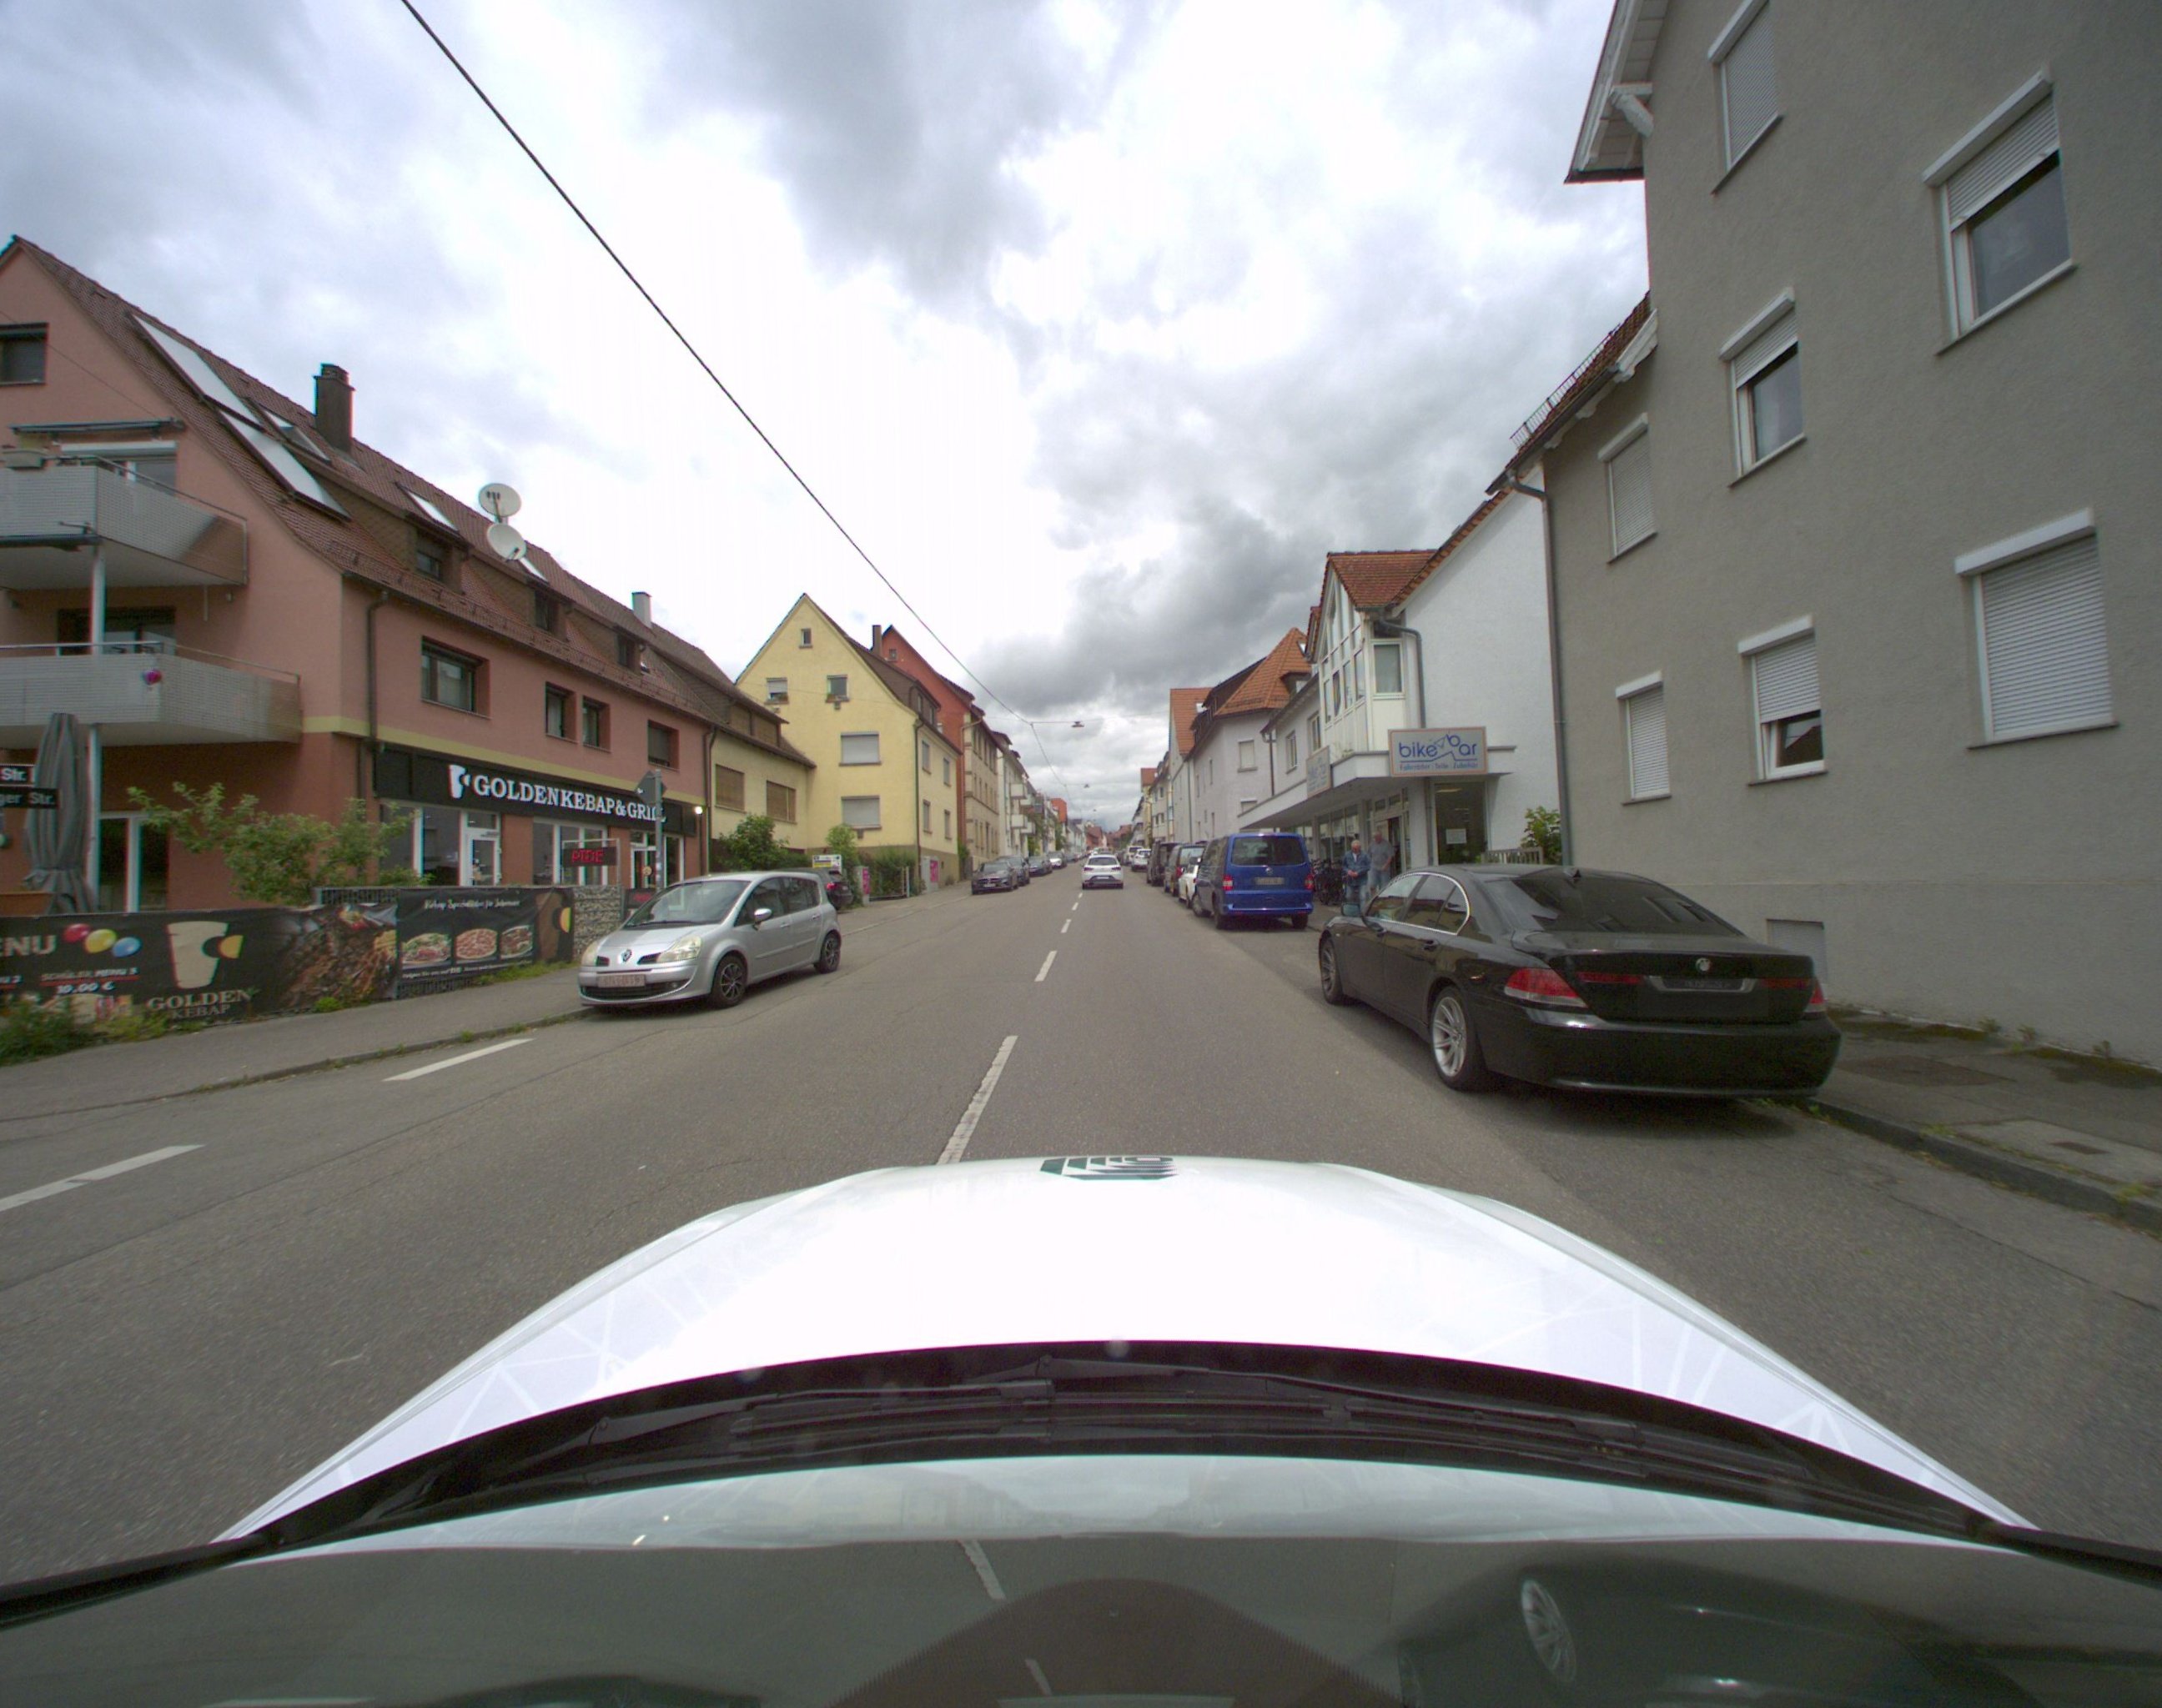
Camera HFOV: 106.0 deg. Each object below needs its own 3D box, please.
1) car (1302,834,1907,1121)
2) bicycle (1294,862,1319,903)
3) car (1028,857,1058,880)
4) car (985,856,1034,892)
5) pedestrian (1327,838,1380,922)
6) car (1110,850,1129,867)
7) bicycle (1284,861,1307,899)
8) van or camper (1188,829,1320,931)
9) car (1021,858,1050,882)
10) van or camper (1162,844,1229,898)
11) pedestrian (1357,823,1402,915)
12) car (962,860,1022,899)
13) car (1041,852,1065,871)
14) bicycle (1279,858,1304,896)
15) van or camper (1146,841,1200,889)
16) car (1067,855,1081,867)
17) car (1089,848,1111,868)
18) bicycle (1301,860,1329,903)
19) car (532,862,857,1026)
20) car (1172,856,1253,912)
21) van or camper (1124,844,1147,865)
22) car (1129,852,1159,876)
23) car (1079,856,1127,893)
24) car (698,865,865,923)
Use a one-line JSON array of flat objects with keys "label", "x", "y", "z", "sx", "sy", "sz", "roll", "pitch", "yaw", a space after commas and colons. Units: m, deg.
[{"label": "car", "x": 3.449, "y": 0.670, "z": 6.788, "sx": 1.986, "sy": 1.518, "sz": 4.892, "roll": 0, "pitch": 0, "yaw": 1}, {"label": "bicycle", "x": 6.600, "y": 0.811, "z": 23.771, "sx": 0.247, "sy": 1.113, "sz": 1.476, "roll": -3, "pitch": 0, "yaw": 31}, {"label": "car", "x": -2.964, "y": 1.094, "z": 63.752, "sx": 1.986, "sy": 1.651, "sz": 4.001, "roll": -2, "pitch": 0, "yaw": 1}, {"label": "car", "x": -3.747, "y": 1.017, "z": 43.411, "sx": 1.987, "sy": 1.651, "sz": 4.554, "roll": -5, "pitch": 0, "yaw": 1}, {"label": "pedestrian", "x": 5.736, "y": 0.537, "z": 17.117, "sx": 0.862, "sy": 1.725, "sz": 0.623, "roll": -2, "pitch": -1, "yaw": 36}, {"label": "car", "x": 4.632, "y": 0.538, "z": 98.782, "sx": 1.988, "sy": 2.013, "sz": 3.998, "roll": -2, "pitch": 0, "yaw": -1}, {"label": "bicycle", "x": 6.737, "y": 0.796, "z": 25.576, "sx": 0.247, "sy": 1.113, "sz": 1.476, "roll": -3, "pitch": 0, "yaw": 31}, {"label": "van or camper", "x": 3.635, "y": 0.497, "z": 18.028, "sx": 1.920, "sy": 1.925, "sz": 4.831, "roll": -1, "pitch": 0, "yaw": 1}, {"label": "car", "x": -3.266, "y": 1.132, "z": 58.810, "sx": 1.636, "sy": 1.473, "sz": 4.180, "roll": -5, "pitch": 0, "yaw": 2}, {"label": "van or camper", "x": 4.117, "y": 0.580, "z": 29.989, "sx": 1.864, "sy": 1.829, "sz": 4.681, "roll": 0, "pitch": 0, "yaw": 1}, {"label": "pedestrian", "x": 6.700, "y": 0.341, "z": 18.262, "sx": 0.752, "sy": 2.013, "sz": 0.623, "roll": -2, "pitch": -1, "yaw": 36}, {"label": "car", "x": -3.994, "y": 1.125, "z": 37.404, "sx": 1.986, "sy": 1.472, "sz": 4.246, "roll": -5, "pitch": 0, "yaw": 2}, {"label": "car", "x": -2.698, "y": 0.709, "z": 79.379, "sx": 1.986, "sy": 1.651, "sz": 4.001, "roll": -2, "pitch": 0, "yaw": 1}, {"label": "bicycle", "x": 6.816, "y": 0.739, "z": 26.339, "sx": 0.247, "sy": 1.160, "sz": 1.476, "roll": -3, "pitch": -1, "yaw": 34}, {"label": "van or camper", "x": 4.168, "y": 0.458, "z": 37.633, "sx": 1.986, "sy": 2.065, "sz": 5.946, "roll": 0, "pitch": 0, "yaw": 1}, {"label": "car", "x": -1.040, "y": 1.014, "z": 122.937, "sx": 1.986, "sy": 1.651, "sz": 4.180, "roll": -2, "pitch": 0, "yaw": 1}, {"label": "car", "x": 1.929, "y": 0.397, "z": 82.203, "sx": 2.145, "sy": 2.013, "sz": 4.000, "roll": -1, "pitch": 0, "yaw": 0}, {"label": "bicycle", "x": 6.647, "y": 0.768, "z": 23.112, "sx": 0.335, "sy": 1.113, "sz": 1.476, "roll": -3, "pitch": 0, "yaw": 31}, {"label": "car", "x": -4.755, "y": 1.005, "z": 10.799, "sx": 1.823, "sy": 1.578, "sz": 4.041, "roll": -5, "pitch": 0, "yaw": 8}, {"label": "car", "x": 3.735, "y": 0.797, "z": 23.838, "sx": 1.708, "sy": 1.436, "sz": 4.640, "roll": 0, "pitch": 0, "yaw": 1}, {"label": "van or camper", "x": 5.437, "y": 0.029, "z": 81.941, "sx": 1.935, "sy": 2.054, "sz": 4.561, "roll": -1, "pitch": 0, "yaw": -1}, {"label": "car", "x": 4.573, "y": 0.689, "z": 59.840, "sx": 1.934, "sy": 1.693, "sz": 4.000, "roll": 1, "pitch": 0, "yaw": 0}, {"label": "car", "x": 0.947, "y": 0.854, "z": 35.183, "sx": 1.934, "sy": 1.439, "sz": 4.001, "roll": -1, "pitch": 0, "yaw": 1}, {"label": "car", "x": -8.947, "y": 1.204, "z": 24.556, "sx": 4.213, "sy": 1.472, "sz": 2.001, "roll": -3, "pitch": -3, "yaw": 2}]
